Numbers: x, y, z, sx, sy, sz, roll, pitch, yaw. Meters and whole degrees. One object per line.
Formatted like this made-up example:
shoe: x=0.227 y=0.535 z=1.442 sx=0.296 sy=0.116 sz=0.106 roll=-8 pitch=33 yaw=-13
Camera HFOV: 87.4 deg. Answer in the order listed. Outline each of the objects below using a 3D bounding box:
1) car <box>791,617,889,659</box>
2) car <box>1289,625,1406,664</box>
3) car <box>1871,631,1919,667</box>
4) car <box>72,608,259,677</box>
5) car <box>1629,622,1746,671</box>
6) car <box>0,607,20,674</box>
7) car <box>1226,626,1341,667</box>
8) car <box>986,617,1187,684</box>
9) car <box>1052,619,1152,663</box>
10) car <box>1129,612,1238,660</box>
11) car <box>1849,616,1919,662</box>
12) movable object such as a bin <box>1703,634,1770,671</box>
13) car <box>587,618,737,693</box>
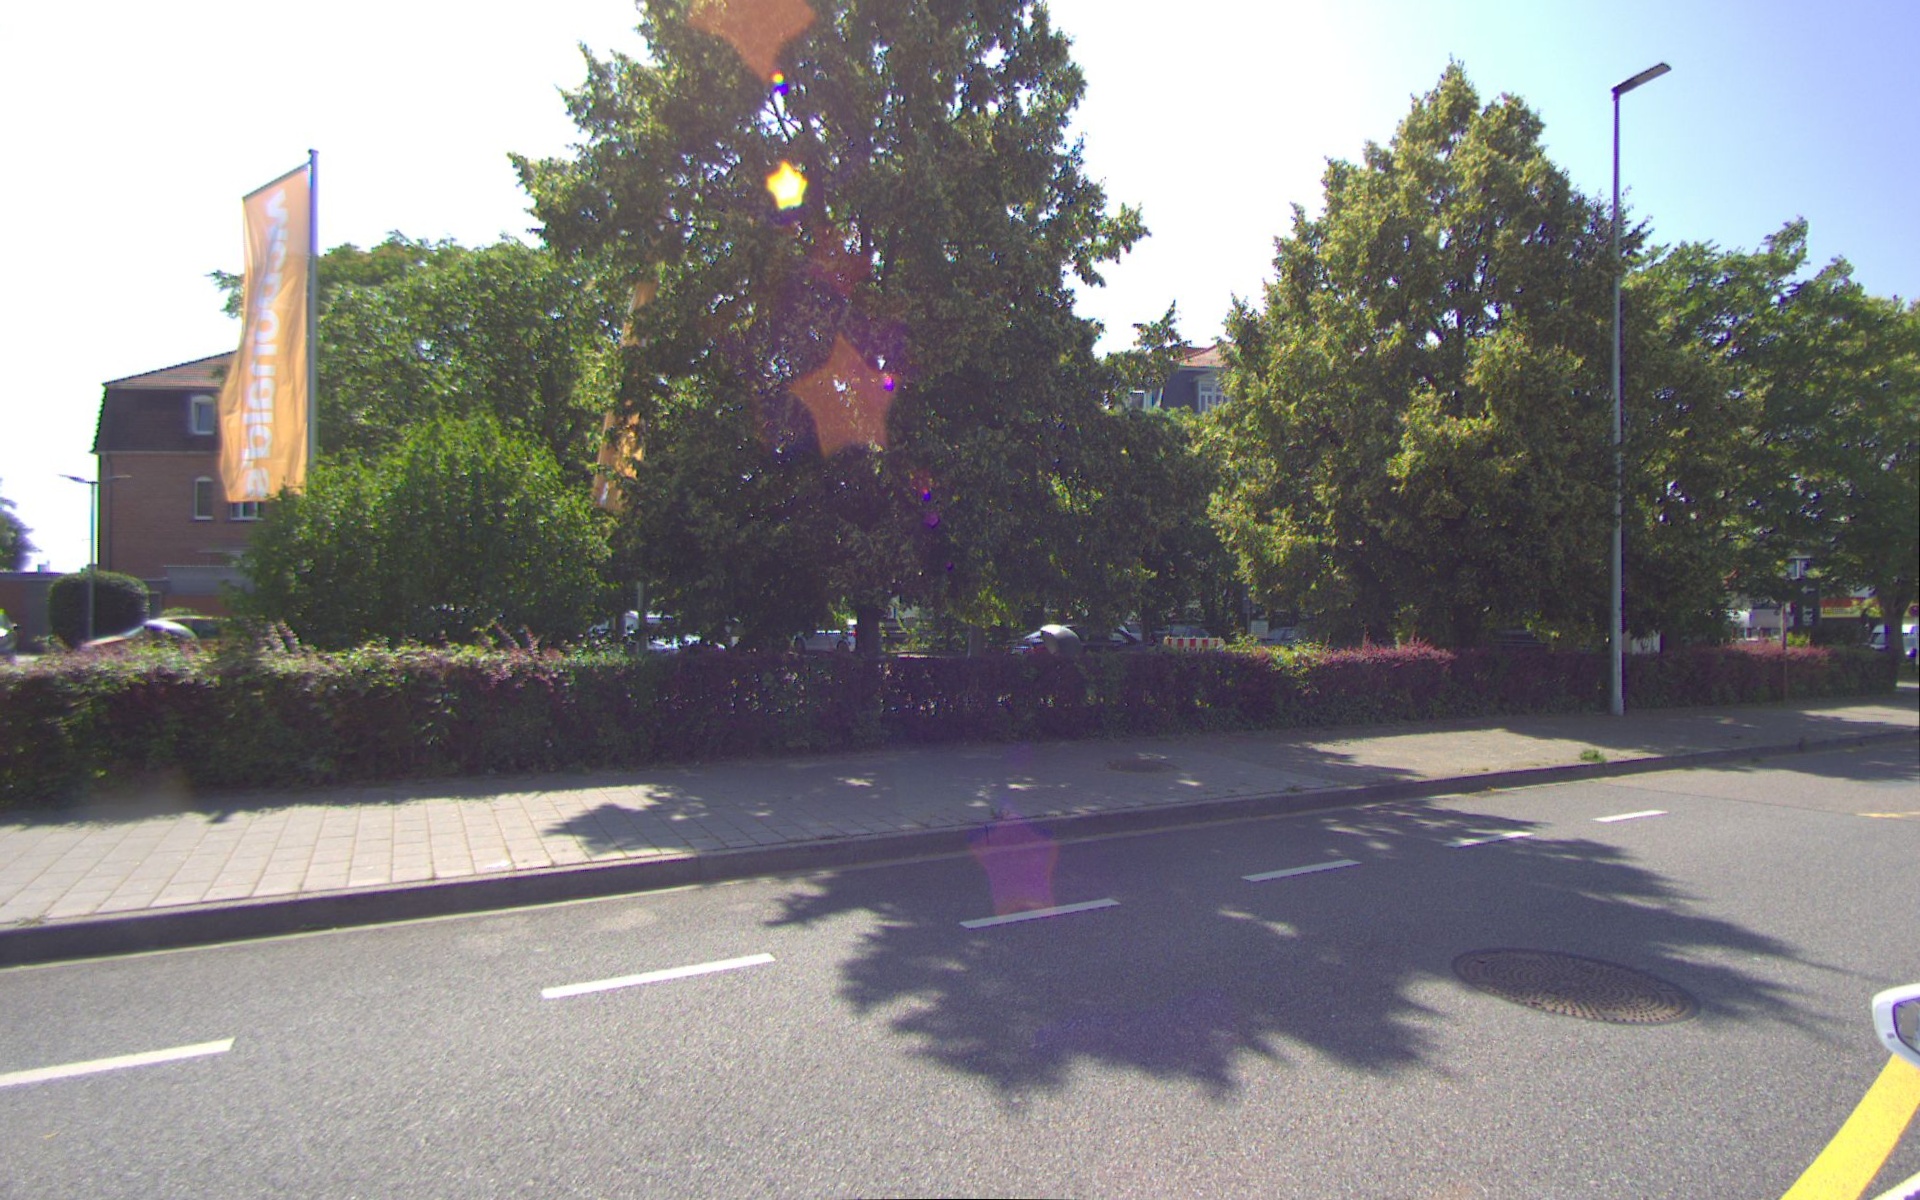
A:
car: x=-4.776 y=1.466 z=39.603 sx=1.782 sy=1.469 sz=3.995 roll=2 pitch=-1 yaw=-44
car: x=15.505 y=1.757 z=40.345 sx=1.757 sy=1.406 sz=4.044 roll=2 pitch=-1 yaw=-42
car: x=47.851 y=2.497 z=50.561 sx=2.013 sy=1.729 sz=4.308 roll=-1 pitch=-4 yaw=29
car: x=-20.636 y=1.083 z=26.164 sx=3.697 sy=1.653 sz=1.648 roll=2 pitch=-1 yaw=-43
car: x=32.319 y=2.131 z=44.831 sx=1.855 sy=1.944 sz=4.528 roll=-2 pitch=-4 yaw=1
car: x=-24.436 y=0.968 z=24.832 sx=1.609 sy=1.552 sz=3.568 roll=1 pitch=-1 yaw=-42
car: x=12.591 y=1.788 z=39.310 sx=1.616 sy=1.414 sz=4.020 roll=2 pitch=-1 yaw=-42
car: x=3.319 y=1.288 z=26.099 sx=4.970 sy=1.581 sz=2.059 roll=2 pitch=-2 yaw=-30
car: x=5.630 y=1.594 z=40.108 sx=1.632 sy=1.609 sz=3.799 roll=2 pitch=-1 yaw=-44
car: x=8.927 y=1.409 z=40.342 sx=1.789 sy=1.755 sz=3.973 roll=1 pitch=-1 yaw=-42
car: x=58.163 y=2.463 z=62.673 sx=6.082 sy=2.794 sz=2.265 roll=2 pitch=-3 yaw=-31
movable object such as a bin: x=34.520 y=2.327 z=44.704 sx=1.430 sy=1.546 sz=1.772 roll=-2 pitch=-3 yaw=-12
car: x=-7.298 y=1.286 z=24.457 sx=3.758 sy=1.604 sz=1.894 roll=1 pitch=-1 yaw=44
